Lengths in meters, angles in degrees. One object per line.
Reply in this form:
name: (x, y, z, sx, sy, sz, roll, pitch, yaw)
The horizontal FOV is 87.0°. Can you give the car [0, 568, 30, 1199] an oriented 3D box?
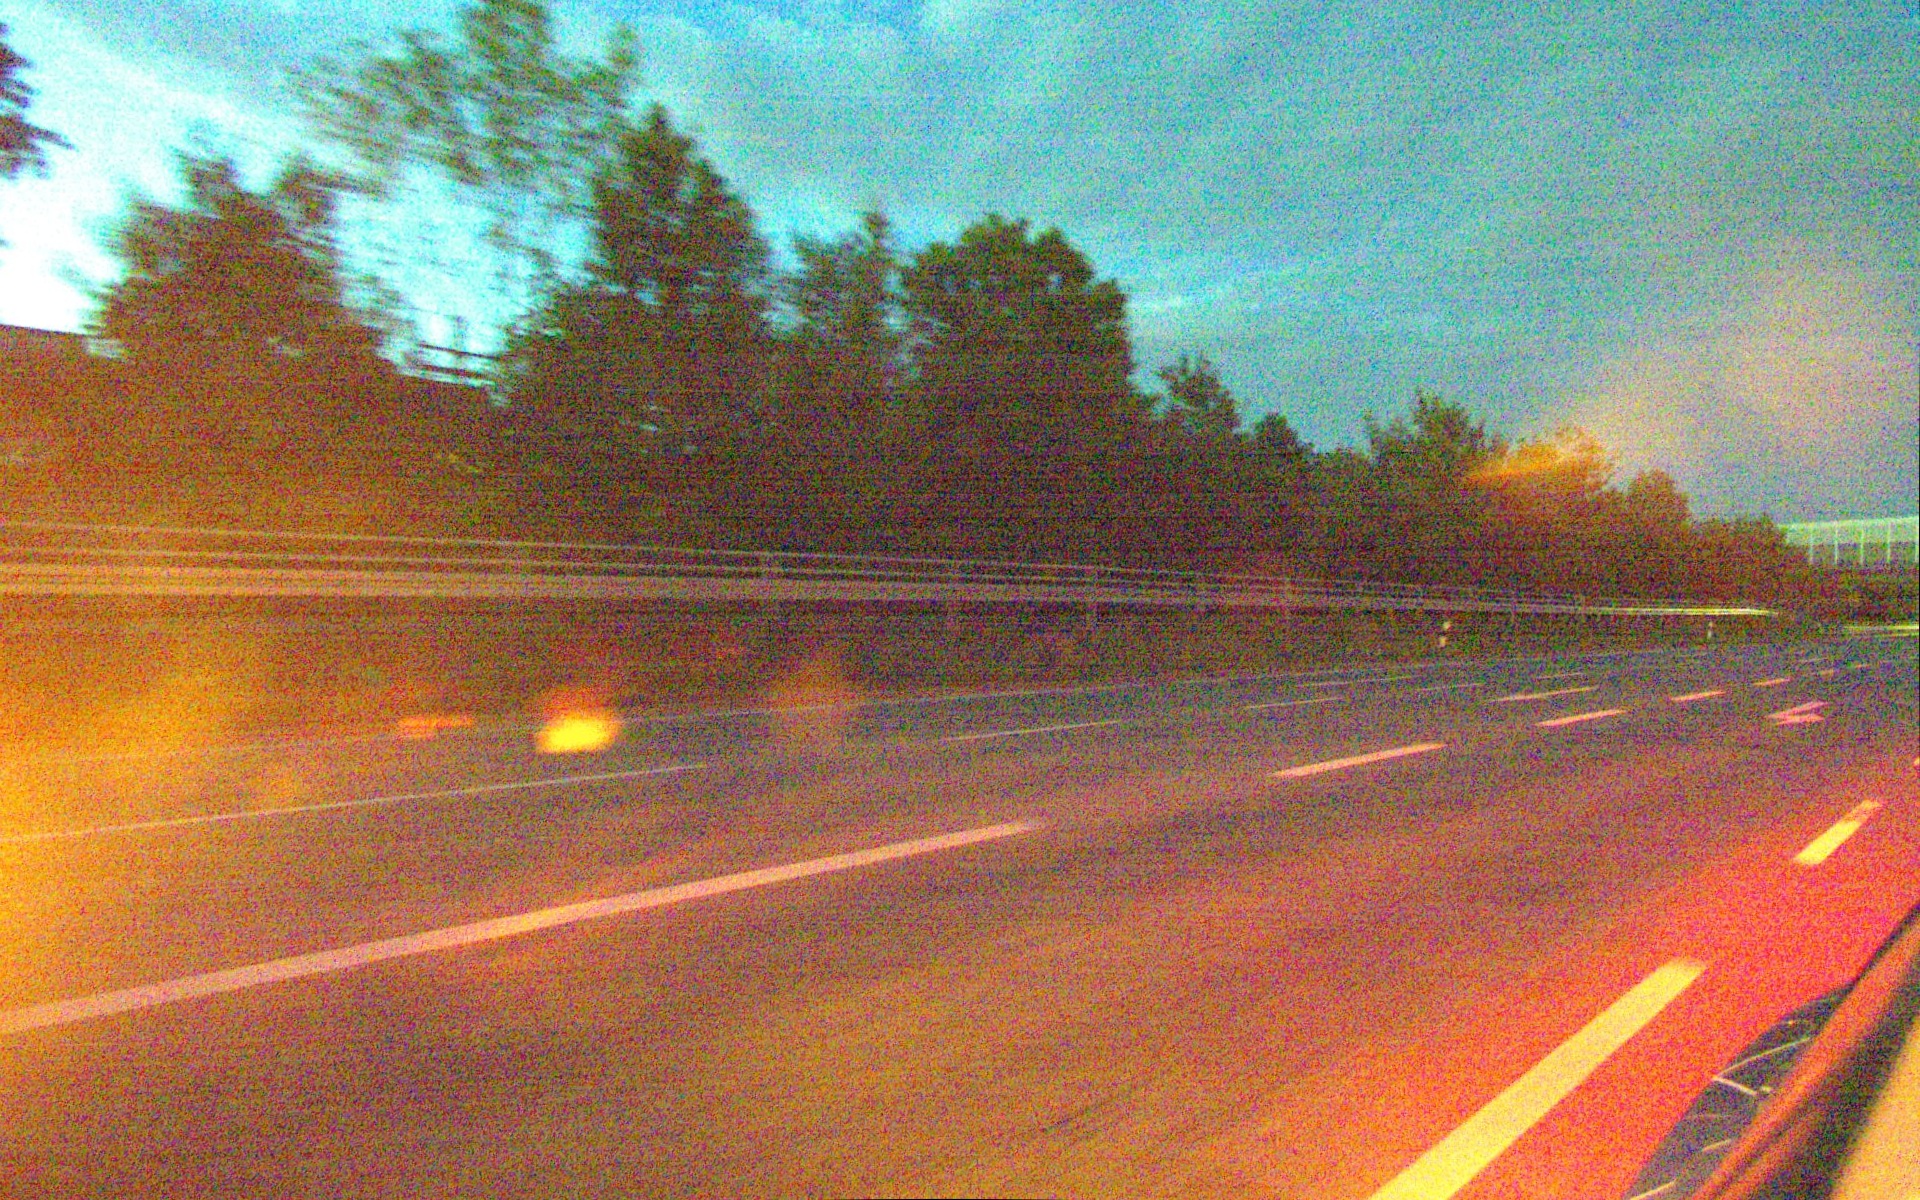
car: (-3.317, 0.657, 1.020, 3.429, 1.469, 1.655, 1, 0, -42)
